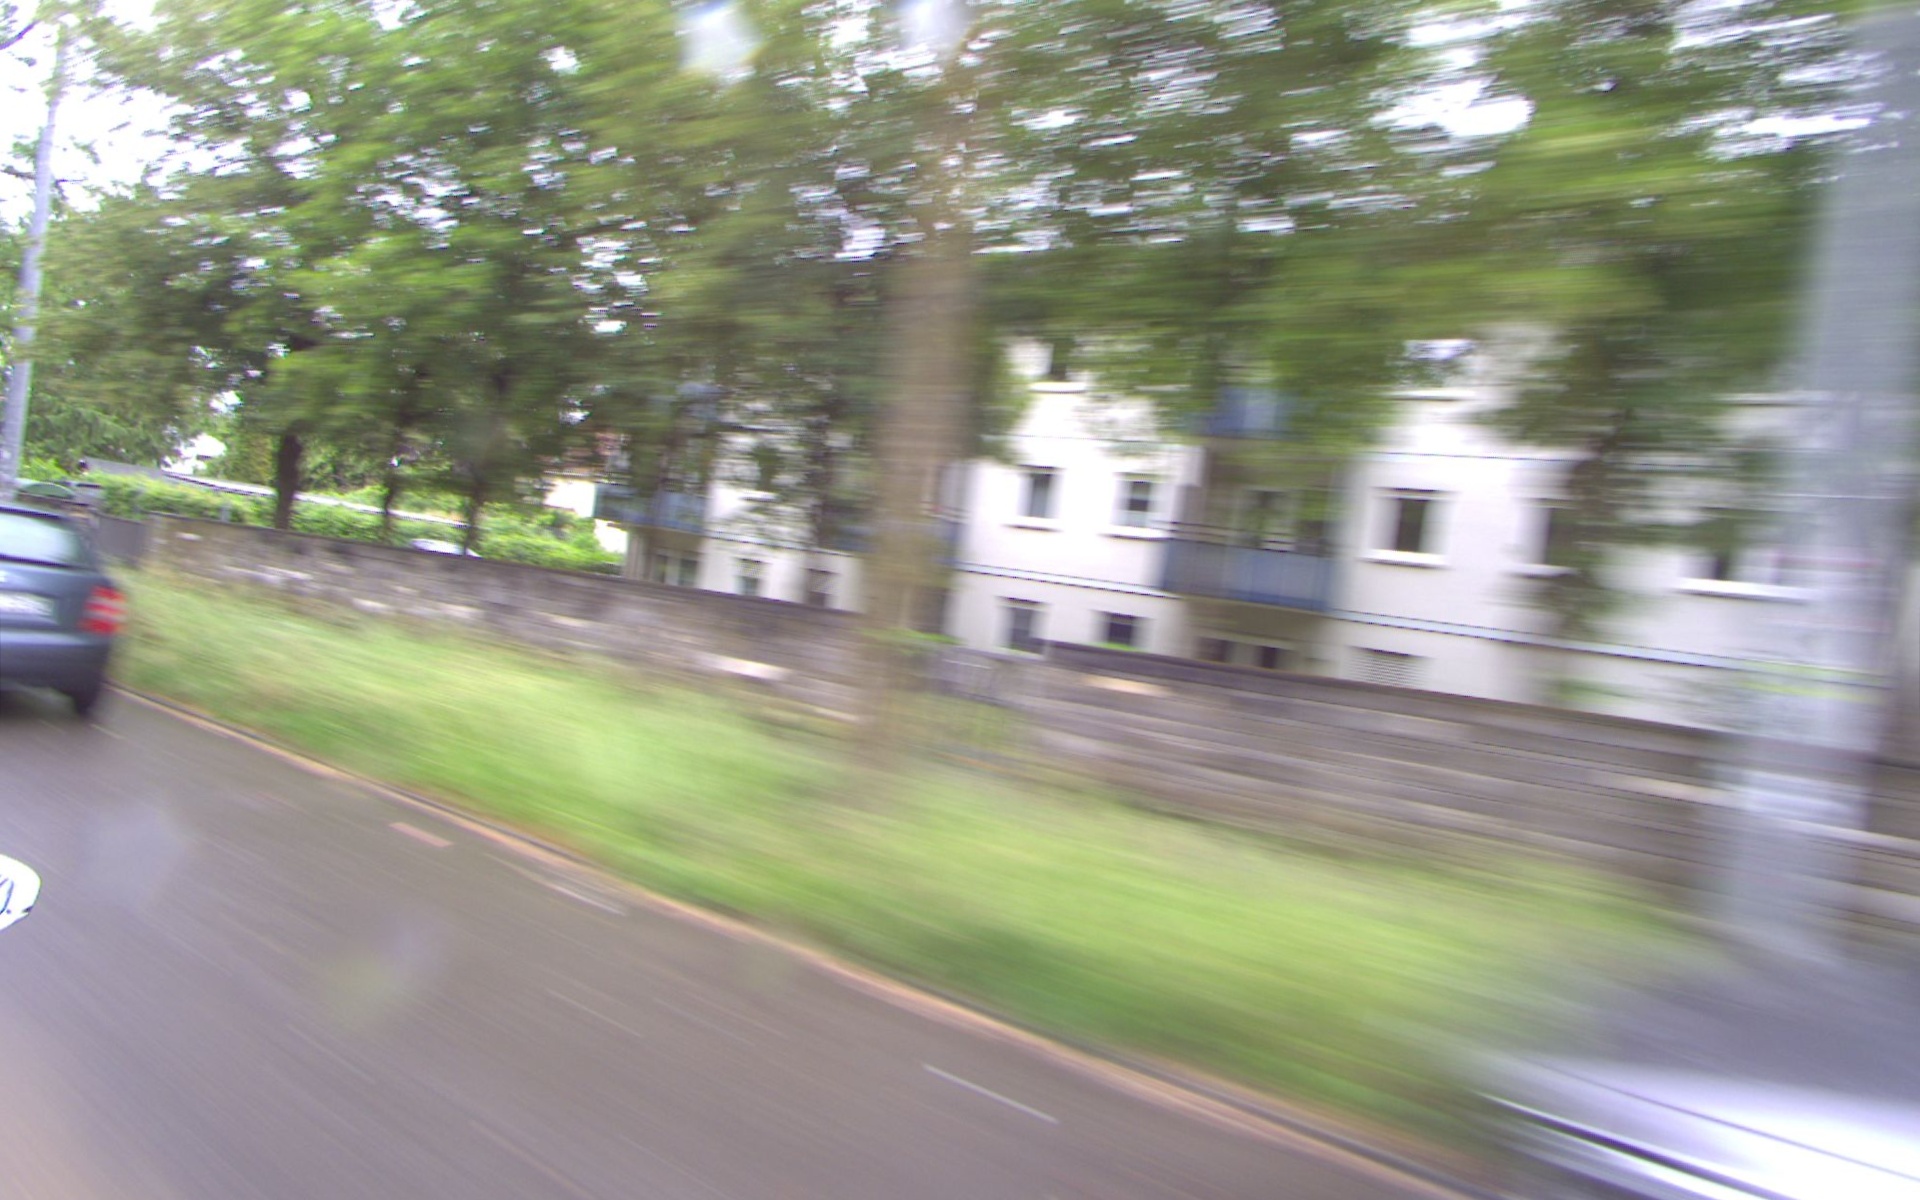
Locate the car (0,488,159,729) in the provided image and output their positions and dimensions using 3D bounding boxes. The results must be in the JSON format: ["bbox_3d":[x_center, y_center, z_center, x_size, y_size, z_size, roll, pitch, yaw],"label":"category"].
[{"bbox_3d":[-7.641,-0.143,7.375,3.746,1.481,1.628,8,-1,35],"label":"car"}]

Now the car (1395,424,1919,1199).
[{"bbox_3d":[2.913,1.003,1.220,4.209,1.834,1.819,8,-1,30],"label":"car"}]

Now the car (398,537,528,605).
[{"bbox_3d":[-15.846,-0.929,32.050,3.934,1.550,1.761,8,-1,32],"label":"car"}]
